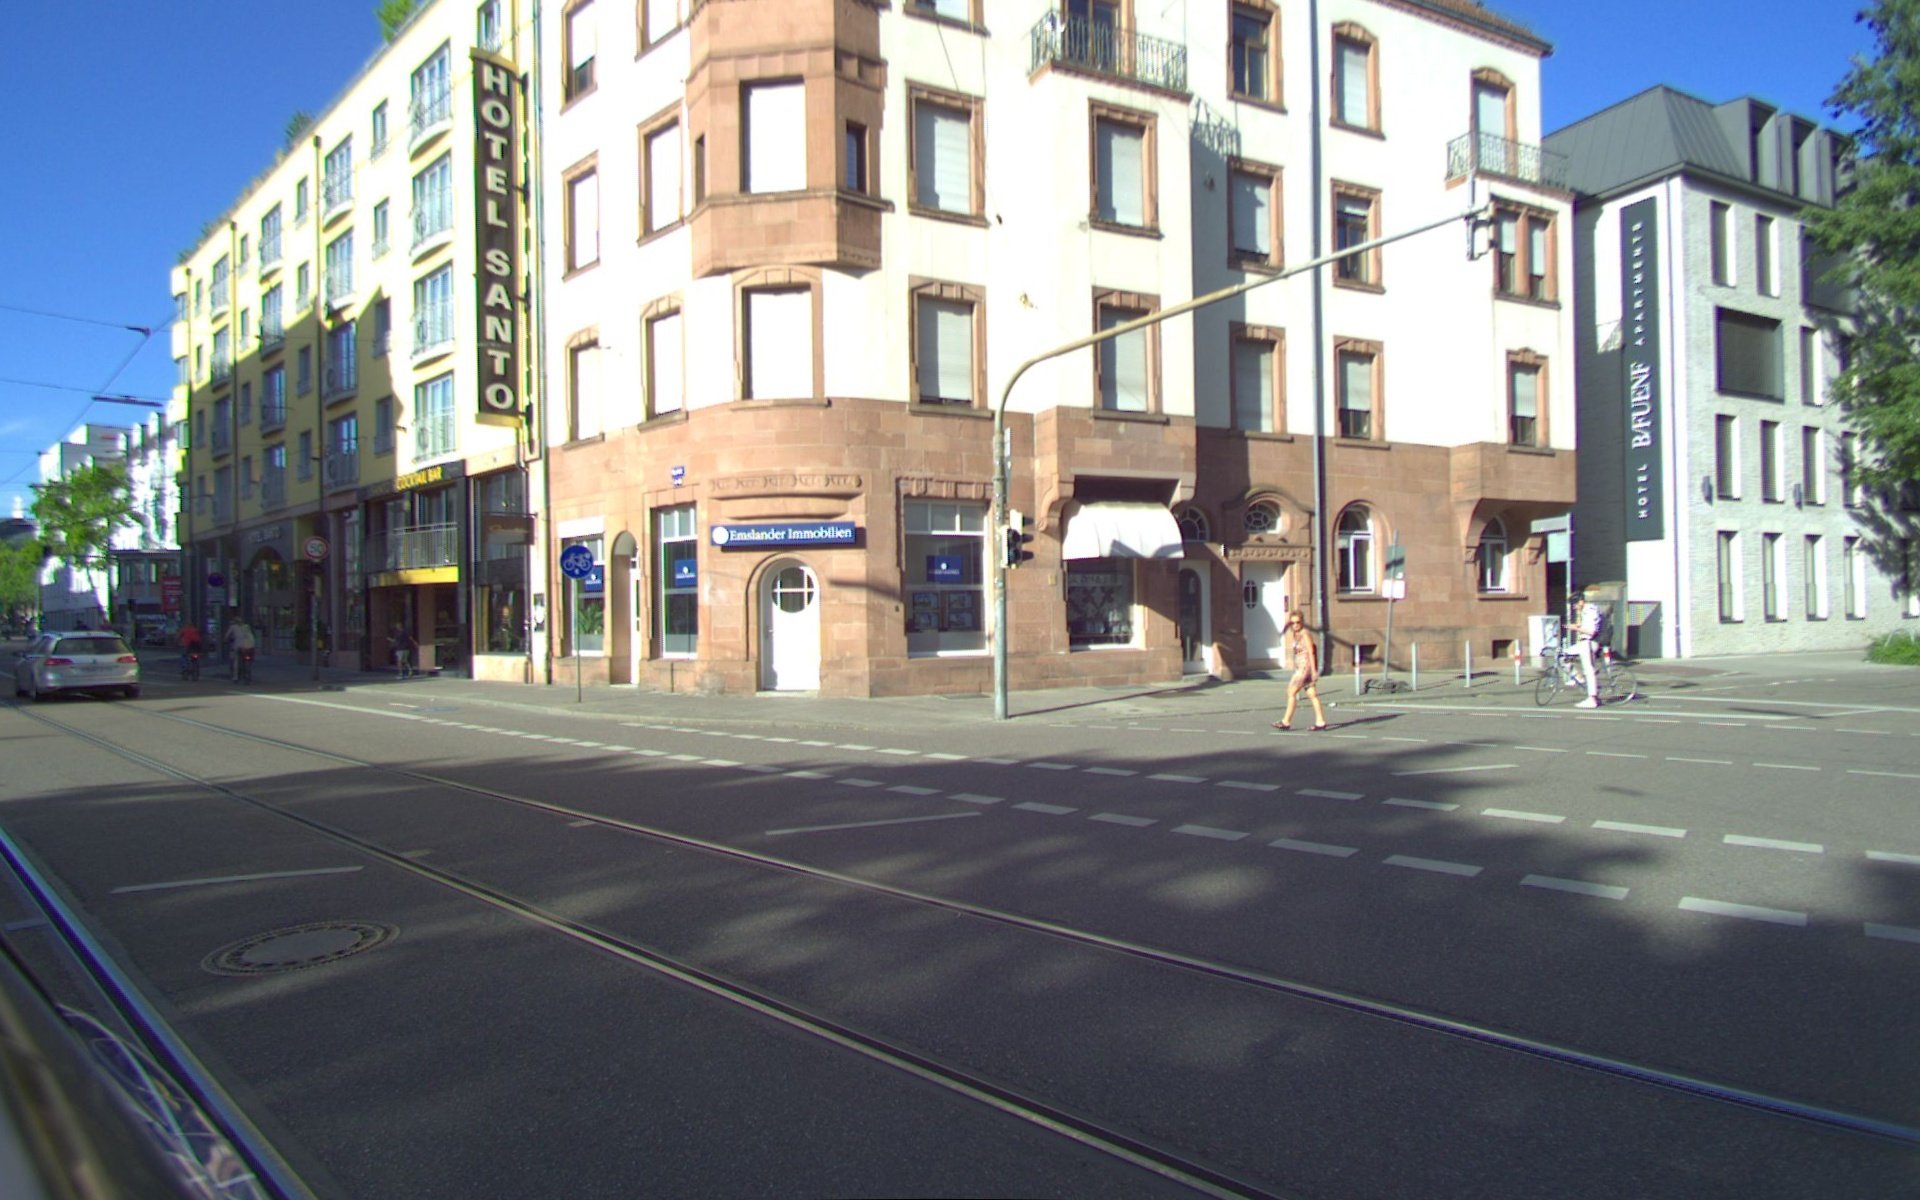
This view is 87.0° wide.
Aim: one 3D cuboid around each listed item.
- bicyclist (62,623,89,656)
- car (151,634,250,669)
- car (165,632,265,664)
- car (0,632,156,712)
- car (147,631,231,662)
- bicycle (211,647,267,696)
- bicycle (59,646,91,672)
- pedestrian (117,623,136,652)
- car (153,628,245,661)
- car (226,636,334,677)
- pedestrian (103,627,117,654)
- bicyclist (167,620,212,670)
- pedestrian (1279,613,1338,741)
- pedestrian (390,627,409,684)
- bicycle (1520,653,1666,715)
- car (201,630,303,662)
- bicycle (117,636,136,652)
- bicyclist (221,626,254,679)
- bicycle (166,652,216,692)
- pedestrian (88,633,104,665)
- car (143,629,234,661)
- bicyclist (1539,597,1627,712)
[{"bbox_3d":[-37.897,1.681,43.356,1.227,1.391,0.717,-2,-1,40],"label":"bicyclist"},{"bbox_3d":[-42.947,2.906,57.326,1.784,1.825,4.189,1,-1,41],"label":"car"},{"bbox_3d":[-41.157,2.633,55.950,1.785,1.621,4.188,-2,-2,42],"label":"car"},{"bbox_3d":[-19.138,1.486,21.895,4.305,1.513,1.965,-2,-2,41],"label":"car"},{"bbox_3d":[-44.723,2.687,58.747,1.784,1.685,3.650,-2,-2,41],"label":"car"},{"bbox_3d":[-19.314,1.894,27.098,2.060,1.192,0.723,-1,0,40],"label":"bicycle"},{"bbox_3d":[-37.875,2.516,43.325,2.060,1.096,0.723,-2,-2,40],"label":"bicycle"},{"bbox_3d":[-50.939,2.292,61.837,0.778,1.777,0.708,-2,-2,33],"label":"pedestrian"},{"bbox_3d":[-45.927,2.661,61.147,1.785,1.826,4.188,-2,-2,42],"label":"car"},{"bbox_3d":[-34.046,2.790,50.709,1.785,1.825,4.188,-1,0,42],"label":"car"},{"bbox_3d":[-51.534,2.465,61.355,0.499,1.629,0.565,-2,-2,42],"label":"pedestrian"},{"bbox_3d":[-22.181,1.273,29.127,1.467,1.391,0.728,-2,-1,40],"label":"bicyclist"},{"bbox_3d":[4.400,0.954,12.772,0.516,1.564,0.537,-2,-2,40],"label":"pedestrian"},{"bbox_3d":[-14.334,1.413,25.874,0.398,1.421,0.517,0,-2,-33],"label":"pedestrian"},{"bbox_3d":[10.098,1.335,16.194,1.790,0.916,0.791,-1,-1,3],"label":"bicycle"},{"bbox_3d":[-38.094,2.453,54.557,1.784,1.560,4.189,1,-1,41],"label":"car"},{"bbox_3d":[-56.993,2.998,69.179,1.874,1.044,0.519,-2,-2,34],"label":"bicycle"},{"bbox_3d":[-19.375,1.393,27.142,0.678,1.386,0.584,-2,-2,40],"label":"bicyclist"},{"bbox_3d":[-22.064,2.042,29.023,2.060,1.073,0.723,-2,-2,40],"label":"bicycle"},{"bbox_3d":[-52.162,2.951,61.091,0.708,1.961,0.631,-2,-2,40],"label":"pedestrian"},{"bbox_3d":[-47.592,2.763,62.486,1.784,1.826,4.189,-2,-2,41],"label":"car"},{"bbox_3d":[9.950,0.863,16.183,0.961,1.777,0.615,-1,-1,2],"label":"bicyclist"}]
